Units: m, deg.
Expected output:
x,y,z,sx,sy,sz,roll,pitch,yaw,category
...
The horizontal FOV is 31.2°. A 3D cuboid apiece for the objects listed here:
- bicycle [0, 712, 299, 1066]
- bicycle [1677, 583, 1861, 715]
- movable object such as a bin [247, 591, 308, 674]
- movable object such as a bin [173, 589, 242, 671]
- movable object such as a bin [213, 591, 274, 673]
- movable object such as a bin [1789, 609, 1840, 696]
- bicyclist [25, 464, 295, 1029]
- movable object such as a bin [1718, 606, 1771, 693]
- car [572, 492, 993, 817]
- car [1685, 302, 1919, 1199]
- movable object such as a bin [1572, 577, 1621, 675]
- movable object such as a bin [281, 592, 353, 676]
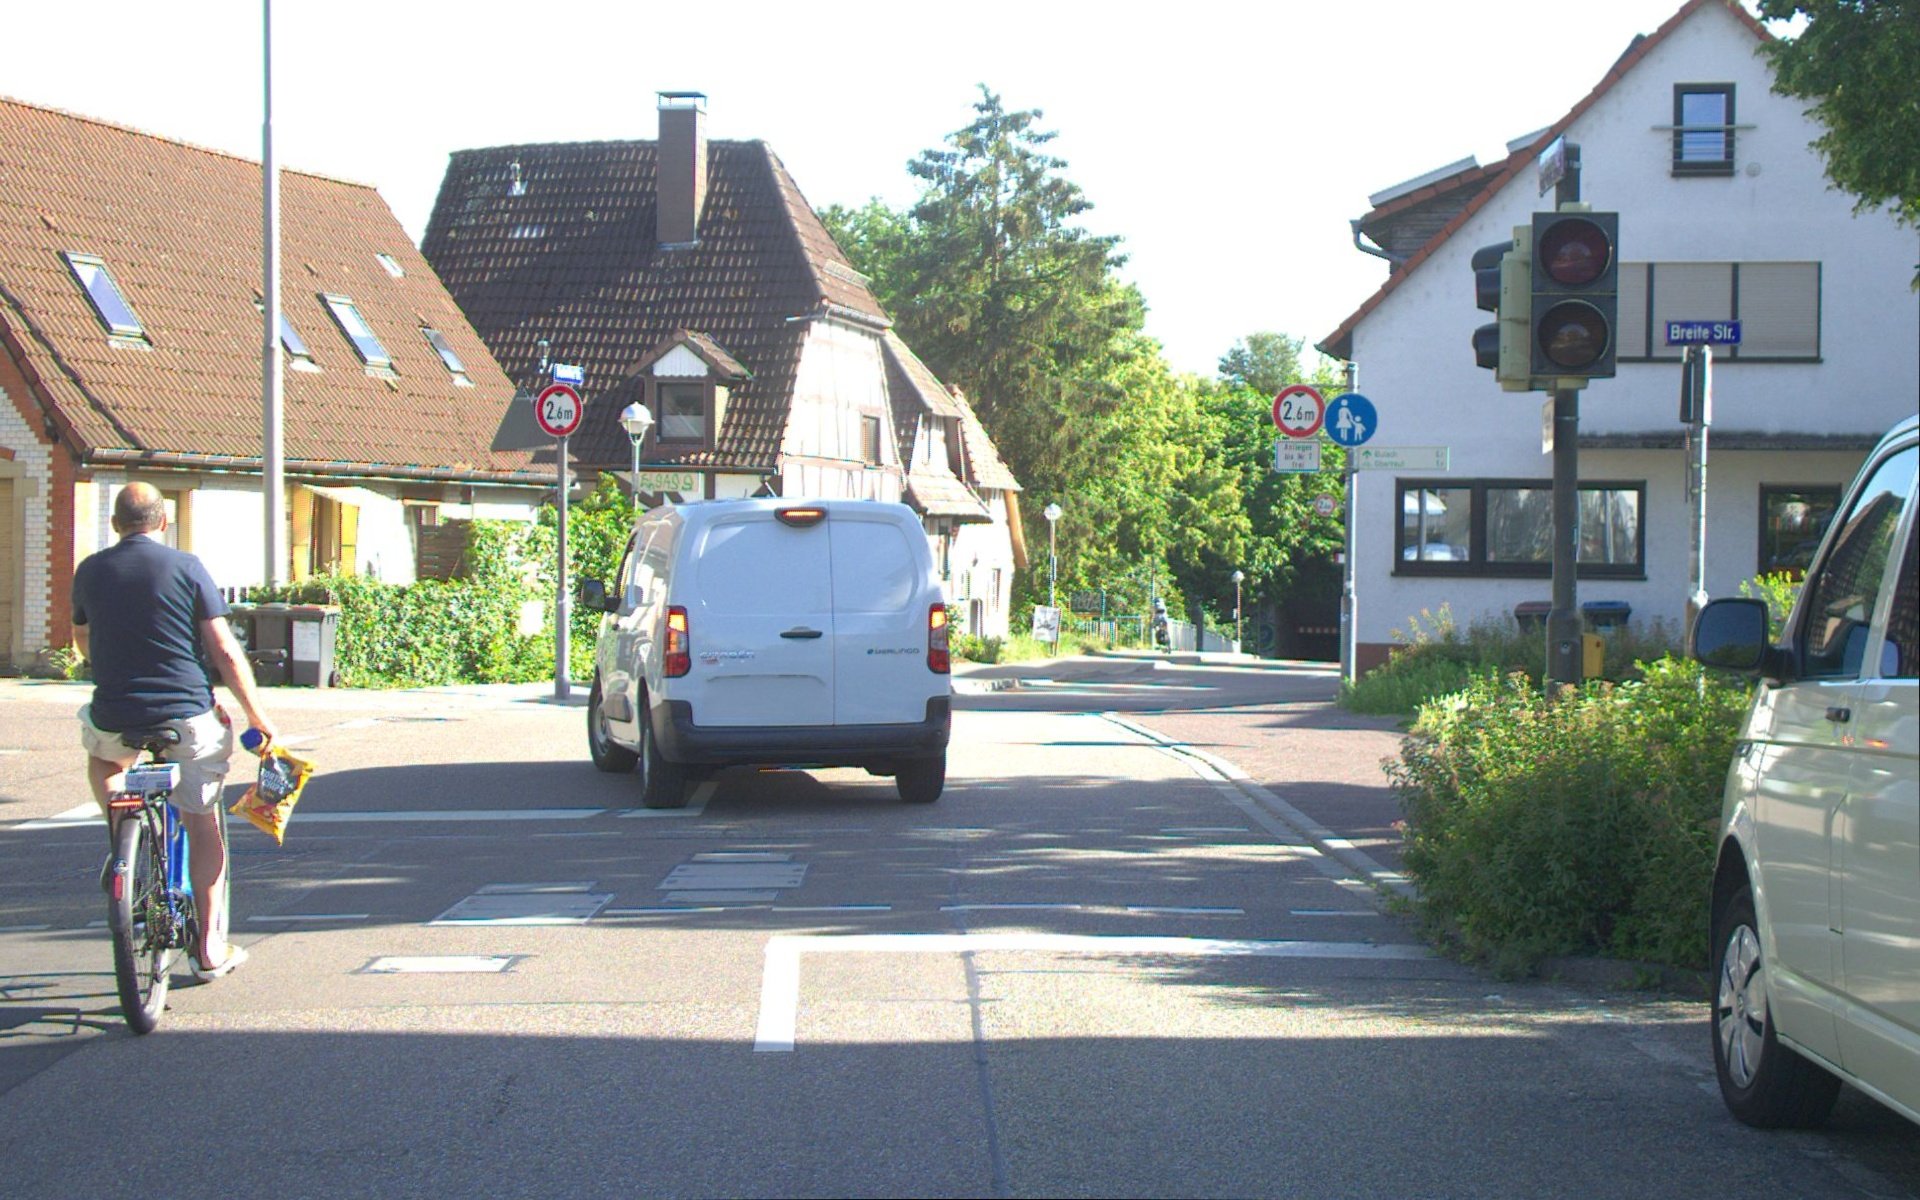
x,y,z,sx,sy,sz,roll,pitch,yaw,category
-2.640,0.896,11.379,0.774,0.937,2.291,1,1,-8,bicycle
8.278,0.494,35.245,1.738,1.279,0.700,2,0,8,bicycle
-7.774,0.371,39.163,0.411,0.921,0.625,2,1,18,movable object such as a bin
-8.639,0.342,39.469,0.508,0.921,0.625,2,1,18,movable object such as a bin
-8.186,0.361,39.293,0.412,0.903,0.625,2,2,18,movable object such as a bin
9.863,0.605,39.681,0.498,0.973,0.594,2,1,9,movable object such as a bin
-2.630,0.455,11.386,0.764,1.782,0.853,-1,1,-8,bicyclist
9.085,0.569,39.817,0.529,0.980,0.669,2,1,9,movable object such as a bin
-1.257,0.253,21.895,1.956,1.841,4.562,0,2,-12,car
3.035,0.427,7.598,1.994,2.072,4.577,2,0,2,car
7.415,0.299,40.062,0.527,1.119,0.748,2,1,9,movable object such as a bin
-7.291,0.384,39.008,0.556,0.921,0.625,2,1,18,movable object such as a bin
